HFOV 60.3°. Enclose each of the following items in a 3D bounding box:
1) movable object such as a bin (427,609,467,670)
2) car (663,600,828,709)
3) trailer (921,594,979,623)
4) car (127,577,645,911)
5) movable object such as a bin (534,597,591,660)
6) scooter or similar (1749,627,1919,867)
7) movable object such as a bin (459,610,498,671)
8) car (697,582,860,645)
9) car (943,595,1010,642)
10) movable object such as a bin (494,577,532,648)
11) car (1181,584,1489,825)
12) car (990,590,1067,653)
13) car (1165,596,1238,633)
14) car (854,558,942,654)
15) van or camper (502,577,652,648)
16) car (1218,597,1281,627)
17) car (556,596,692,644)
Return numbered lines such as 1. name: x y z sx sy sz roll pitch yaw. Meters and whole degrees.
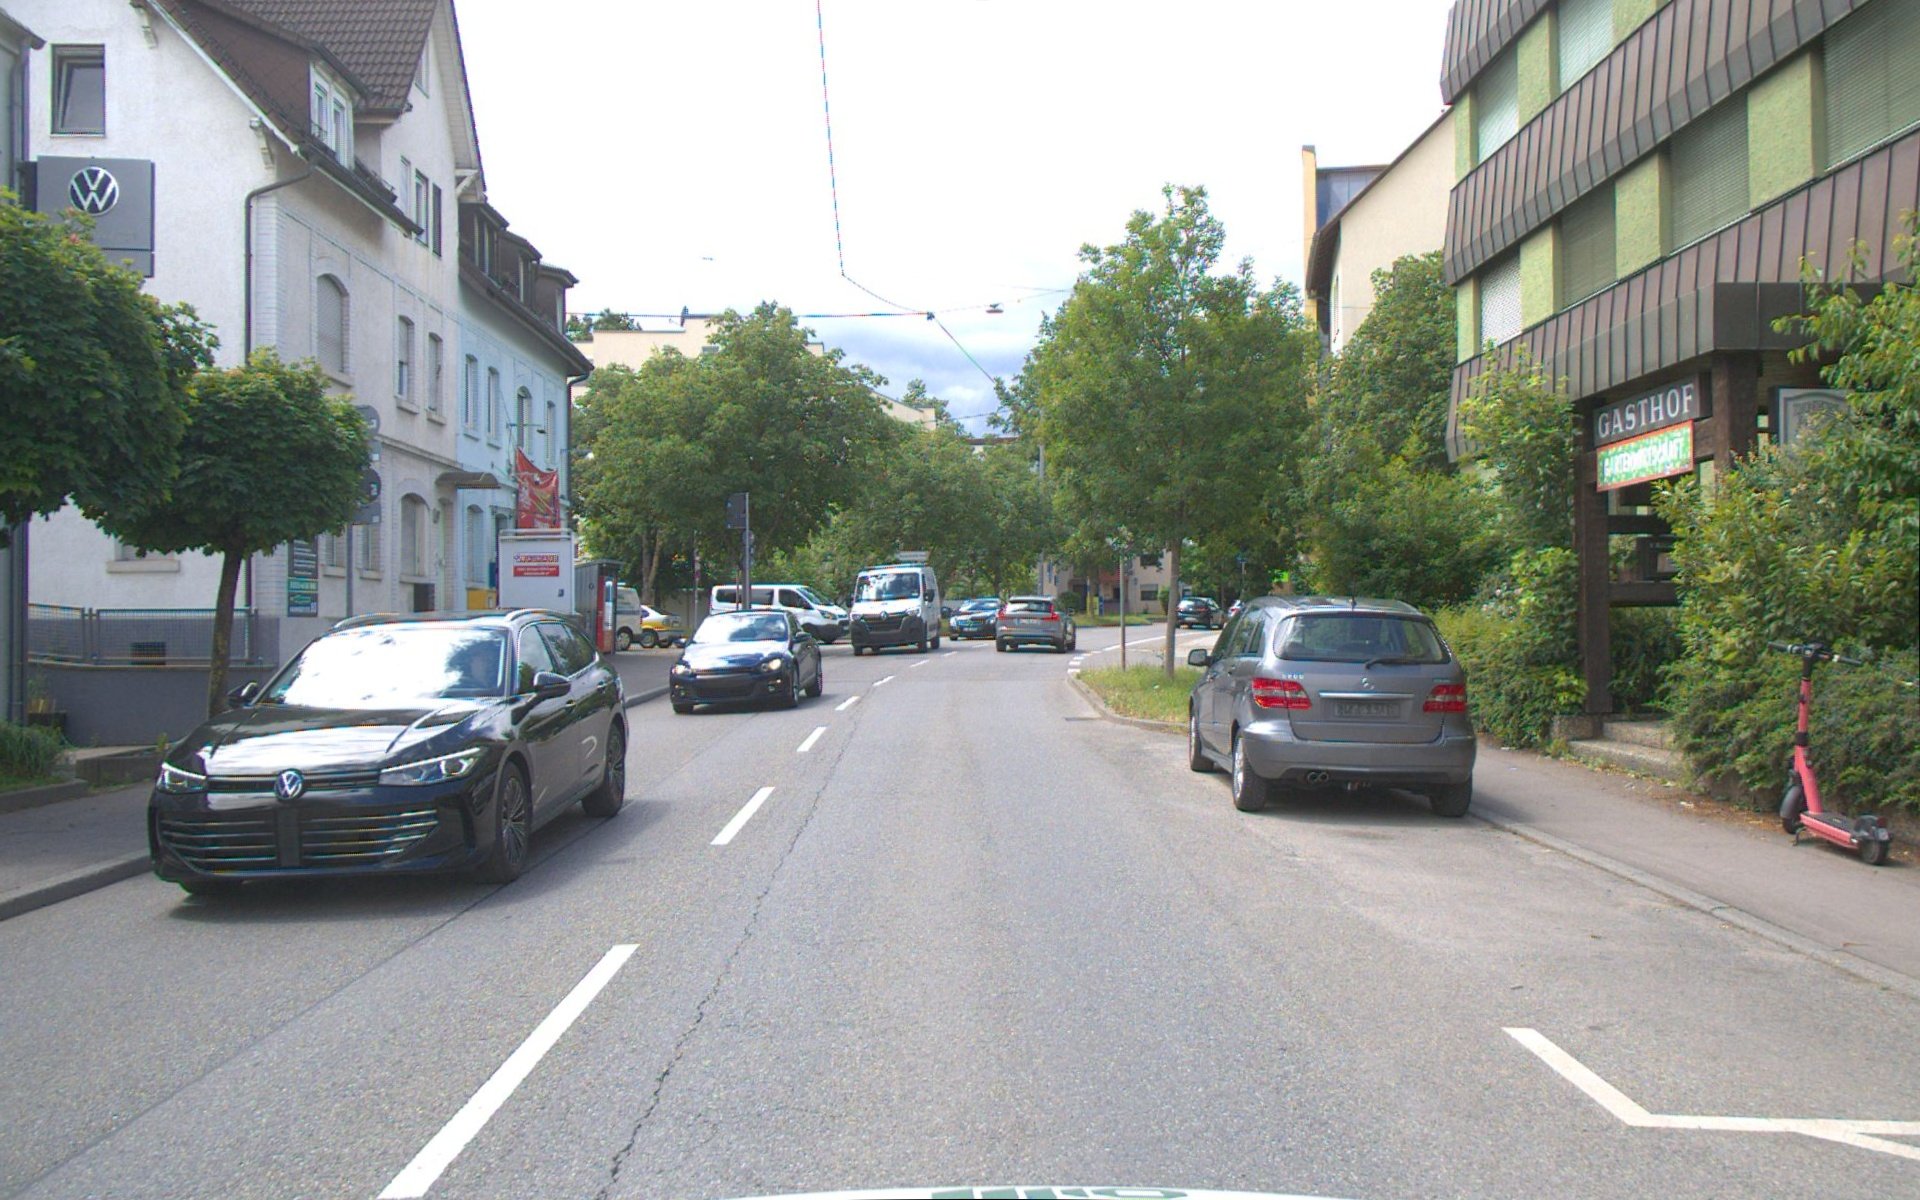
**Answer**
1. movable object such as a bin: -9.709 0.744 31.294 0.553 1.120 0.562 3 -1 -5
2. car: -3.090 0.760 24.582 1.733 1.450 4.110 -1 -1 2
3. trailer: -0.725 0.607 118.117 3.823 1.830 1.631 2 -4 13
4. car: -3.236 0.741 10.335 1.740 1.550 4.460 -3 -1 -2
5. movable object such as a bin: -9.014 0.649 37.549 0.999 1.378 1.246 2 -1 -2
6. scooter or similar: 5.363 0.854 10.162 0.294 1.328 1.404 -2 0 -1
7. movable object such as a bin: -9.124 0.757 31.337 0.553 1.120 0.562 3 -1 -5
8. car: -6.212 0.478 56.783 5.102 2.028 2.109 -1 0 17
9. car: 0.606 0.637 57.405 1.651 1.508 4.230 -3 -1 9
10. movable object such as a bin: -8.483 0.237 31.412 0.553 1.295 0.562 3 -1 -5
11. car: 2.954 0.717 13.956 1.655 1.695 4.463 0 1 1
12. car: 1.855 0.606 44.597 1.915 1.550 4.330 2 -1 3
13. car: 11.324 0.683 77.304 1.772 1.549 4.318 4 1 32
14. car: -1.637 0.147 45.295 2.020 2.395 5.183 -2 0 1
15. van or camper: -11.523 0.405 50.009 1.754 2.029 4.364 0 -2 34
16. car: 18.498 0.763 105.553 1.780 1.644 4.299 4 0 43
17. car: -11.036 0.667 54.414 3.931 1.438 1.817 1 -2 11
